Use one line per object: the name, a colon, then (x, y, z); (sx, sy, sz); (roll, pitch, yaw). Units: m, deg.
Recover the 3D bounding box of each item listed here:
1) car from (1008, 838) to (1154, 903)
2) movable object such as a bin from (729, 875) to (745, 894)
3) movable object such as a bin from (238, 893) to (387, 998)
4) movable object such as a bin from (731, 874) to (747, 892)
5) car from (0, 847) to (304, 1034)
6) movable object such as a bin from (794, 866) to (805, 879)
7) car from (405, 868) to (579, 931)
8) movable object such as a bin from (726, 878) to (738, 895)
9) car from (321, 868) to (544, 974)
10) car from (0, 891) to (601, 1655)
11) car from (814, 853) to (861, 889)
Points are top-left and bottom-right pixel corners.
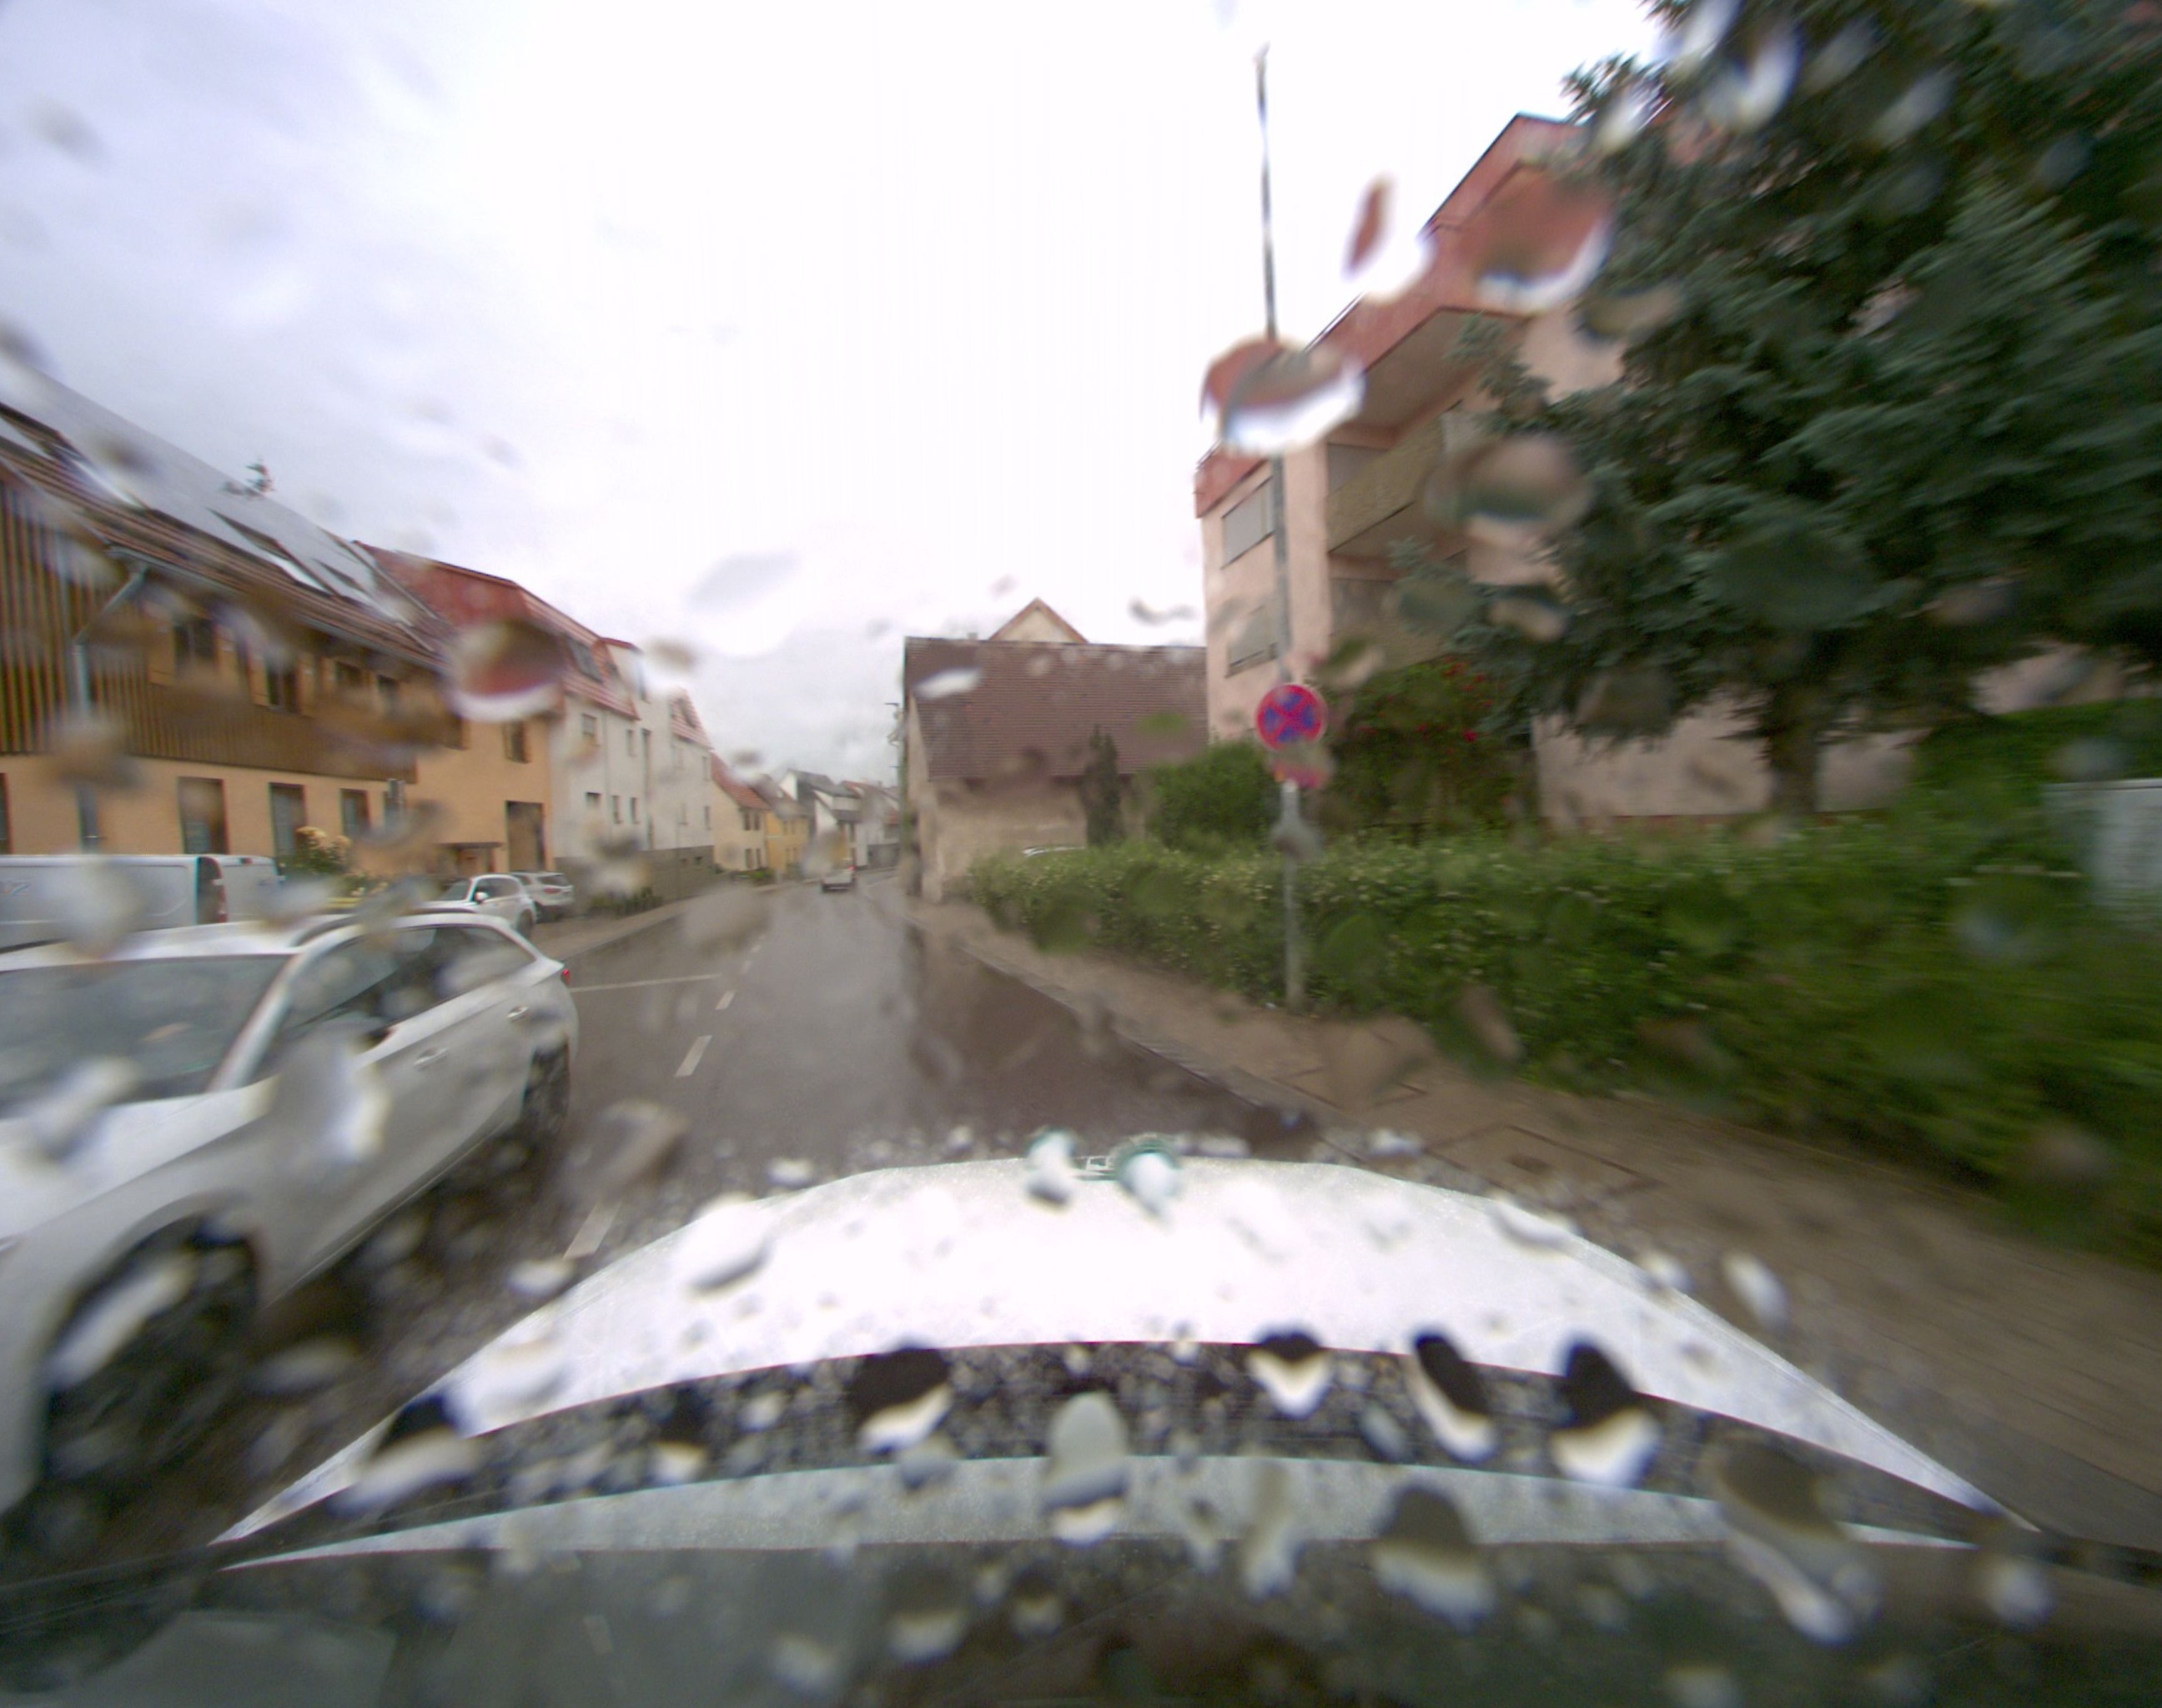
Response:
car: (-0.015, 0.488, 26.237); (4.231, 1.648, 1.891); (-5, 1, -19)
movable object such as a bin: (-19.972, 1.778, 47.263); (0.682, 1.066, 0.692); (-1, 0, -11)
movable object such as a bin: (-11.403, 1.315, 12.149); (1.291, 1.368, 0.989); (-2, 0, -22)
movable object such as a bin: (-20.200, 1.697, 48.110); (0.682, 1.045, 0.659); (-1, 0, -11)
car: (-12.453, 0.932, 9.464); (4.533, 1.979, 1.982); (1, 1, -28)
movable object such as a bin: (-22.447, 1.465, 64.929); (0.659, 1.056, 0.761); (0, 0, -9)
car: (-18.565, 1.391, 25.888); (3.994, 1.670, 1.869); (-2, 0, -15)
movable object such as a bin: (-19.920, 1.835, 46.521); (0.506, 0.922, 0.576); (-1, 0, -13)
car: (-13.034, 1.225, 16.803); (1.817, 1.706, 4.593); (-3, 1, -15)
car: (-3.557, 1.004, 3.354); (1.590, 1.409, 4.187); (-4, 1, -16)
car: (-14.028, 0.940, 47.153); (2.197, 1.851, 4.286); (-3, 0, -12)
